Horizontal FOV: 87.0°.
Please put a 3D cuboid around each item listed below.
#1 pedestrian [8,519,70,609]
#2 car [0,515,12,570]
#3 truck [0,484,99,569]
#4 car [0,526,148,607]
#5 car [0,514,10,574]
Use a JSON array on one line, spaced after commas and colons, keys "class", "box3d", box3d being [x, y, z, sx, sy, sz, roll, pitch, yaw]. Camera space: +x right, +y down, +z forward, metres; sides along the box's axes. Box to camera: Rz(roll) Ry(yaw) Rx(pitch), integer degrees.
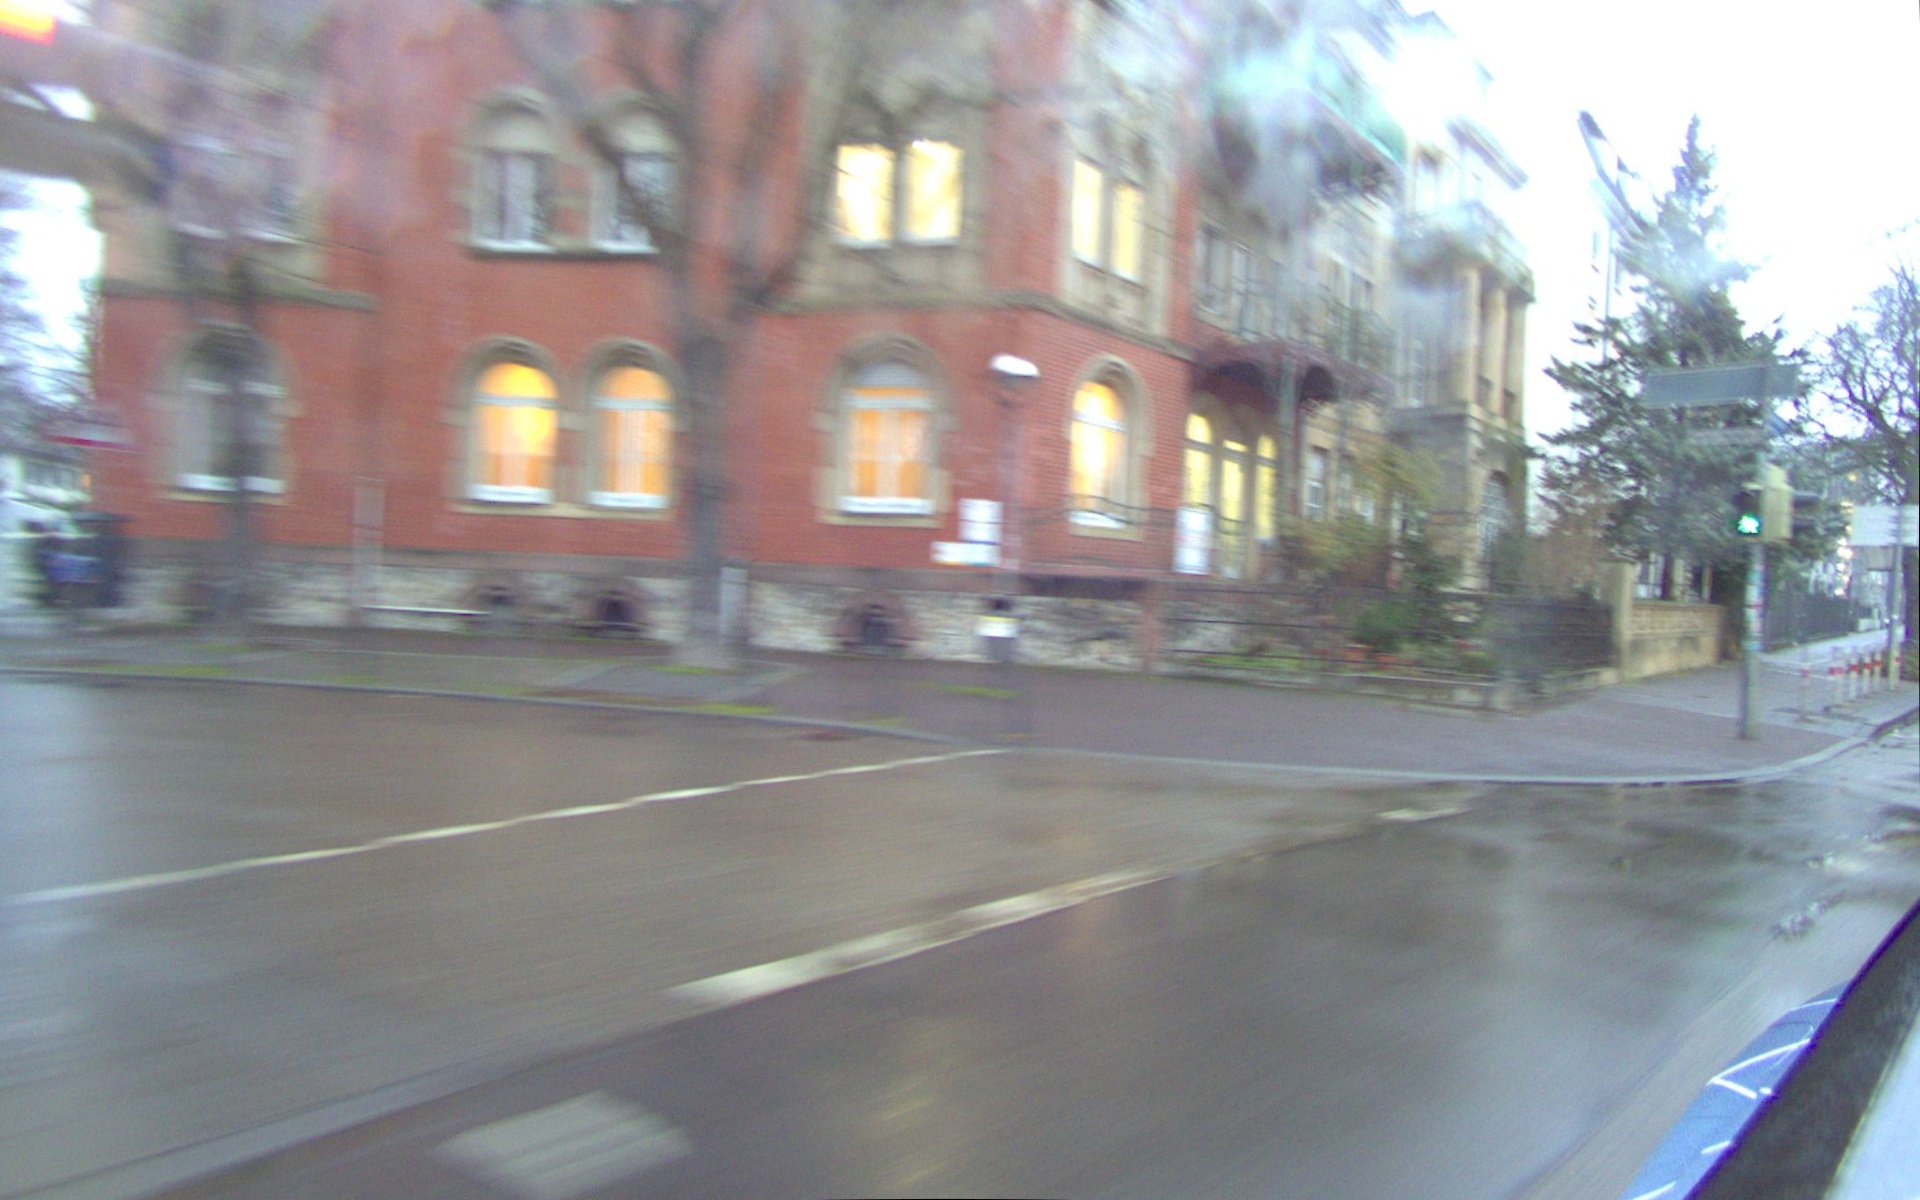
[{"class": "pedestrian", "box3d": [-16.321, -0.631, 17.943, 0.630, 1.546, 0.548, 2, 0, -23]}, {"class": "car", "box3d": [-37.247, -2.174, 36.332, 4.239, 2.038, 2.004, 2, 2, -28]}, {"class": "truck", "box3d": [-38.037, -2.932, 39.217, 6.595, 3.130, 2.638, 2, 2, -26]}, {"class": "car", "box3d": [-18.893, -0.739, 21.483, 1.613, 1.514, 4.009, 2, 2, -25]}, {"class": "car", "box3d": [-33.509, -1.902, 32.501, 3.915, 1.957, 1.855, 2, 1, -17]}]
